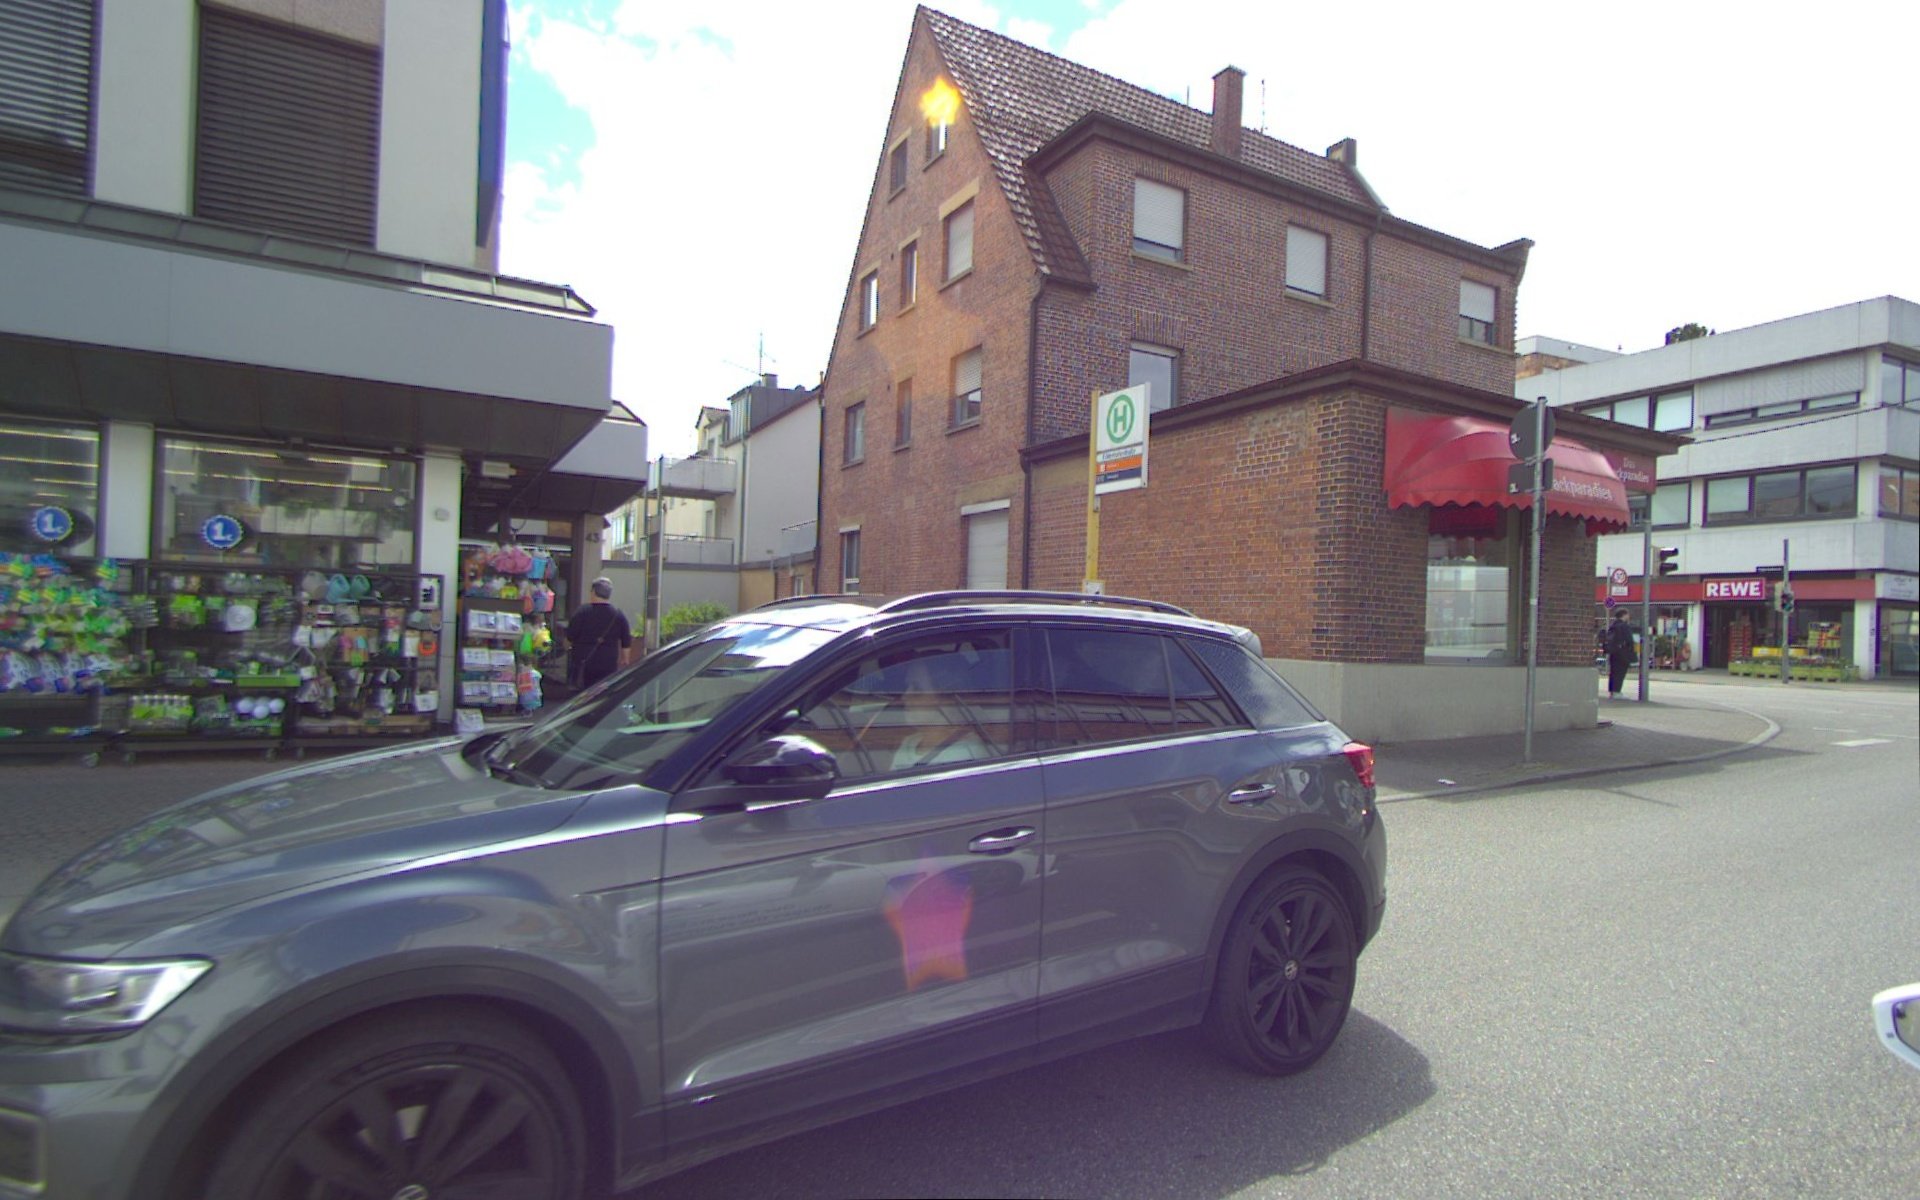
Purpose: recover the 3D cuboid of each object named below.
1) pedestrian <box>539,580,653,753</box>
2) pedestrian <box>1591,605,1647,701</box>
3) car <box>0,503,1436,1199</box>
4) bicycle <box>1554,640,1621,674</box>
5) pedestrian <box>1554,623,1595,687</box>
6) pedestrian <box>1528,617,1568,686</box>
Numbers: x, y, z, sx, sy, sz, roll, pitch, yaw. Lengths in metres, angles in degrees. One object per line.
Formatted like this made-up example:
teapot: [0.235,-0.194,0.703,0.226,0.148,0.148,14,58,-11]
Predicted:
pedestrian: [-3.523,0.627,9.751,0.757,1.578,0.574,4,-1,13]
pedestrian: [12.928,1.040,19.720,0.712,1.820,0.622,4,-1,-32]
car: [-0.345,0.712,3.323,3.804,1.531,1.780,3,-3,-33]
bicycle: [22.320,2.021,35.771,0.769,1.157,1.867,3,-3,-39]
pedestrian: [14.999,1.337,24.524,0.753,1.504,0.521,4,-1,-32]
pedestrian: [14.624,1.279,24.975,0.753,1.680,0.521,4,-1,-32]
